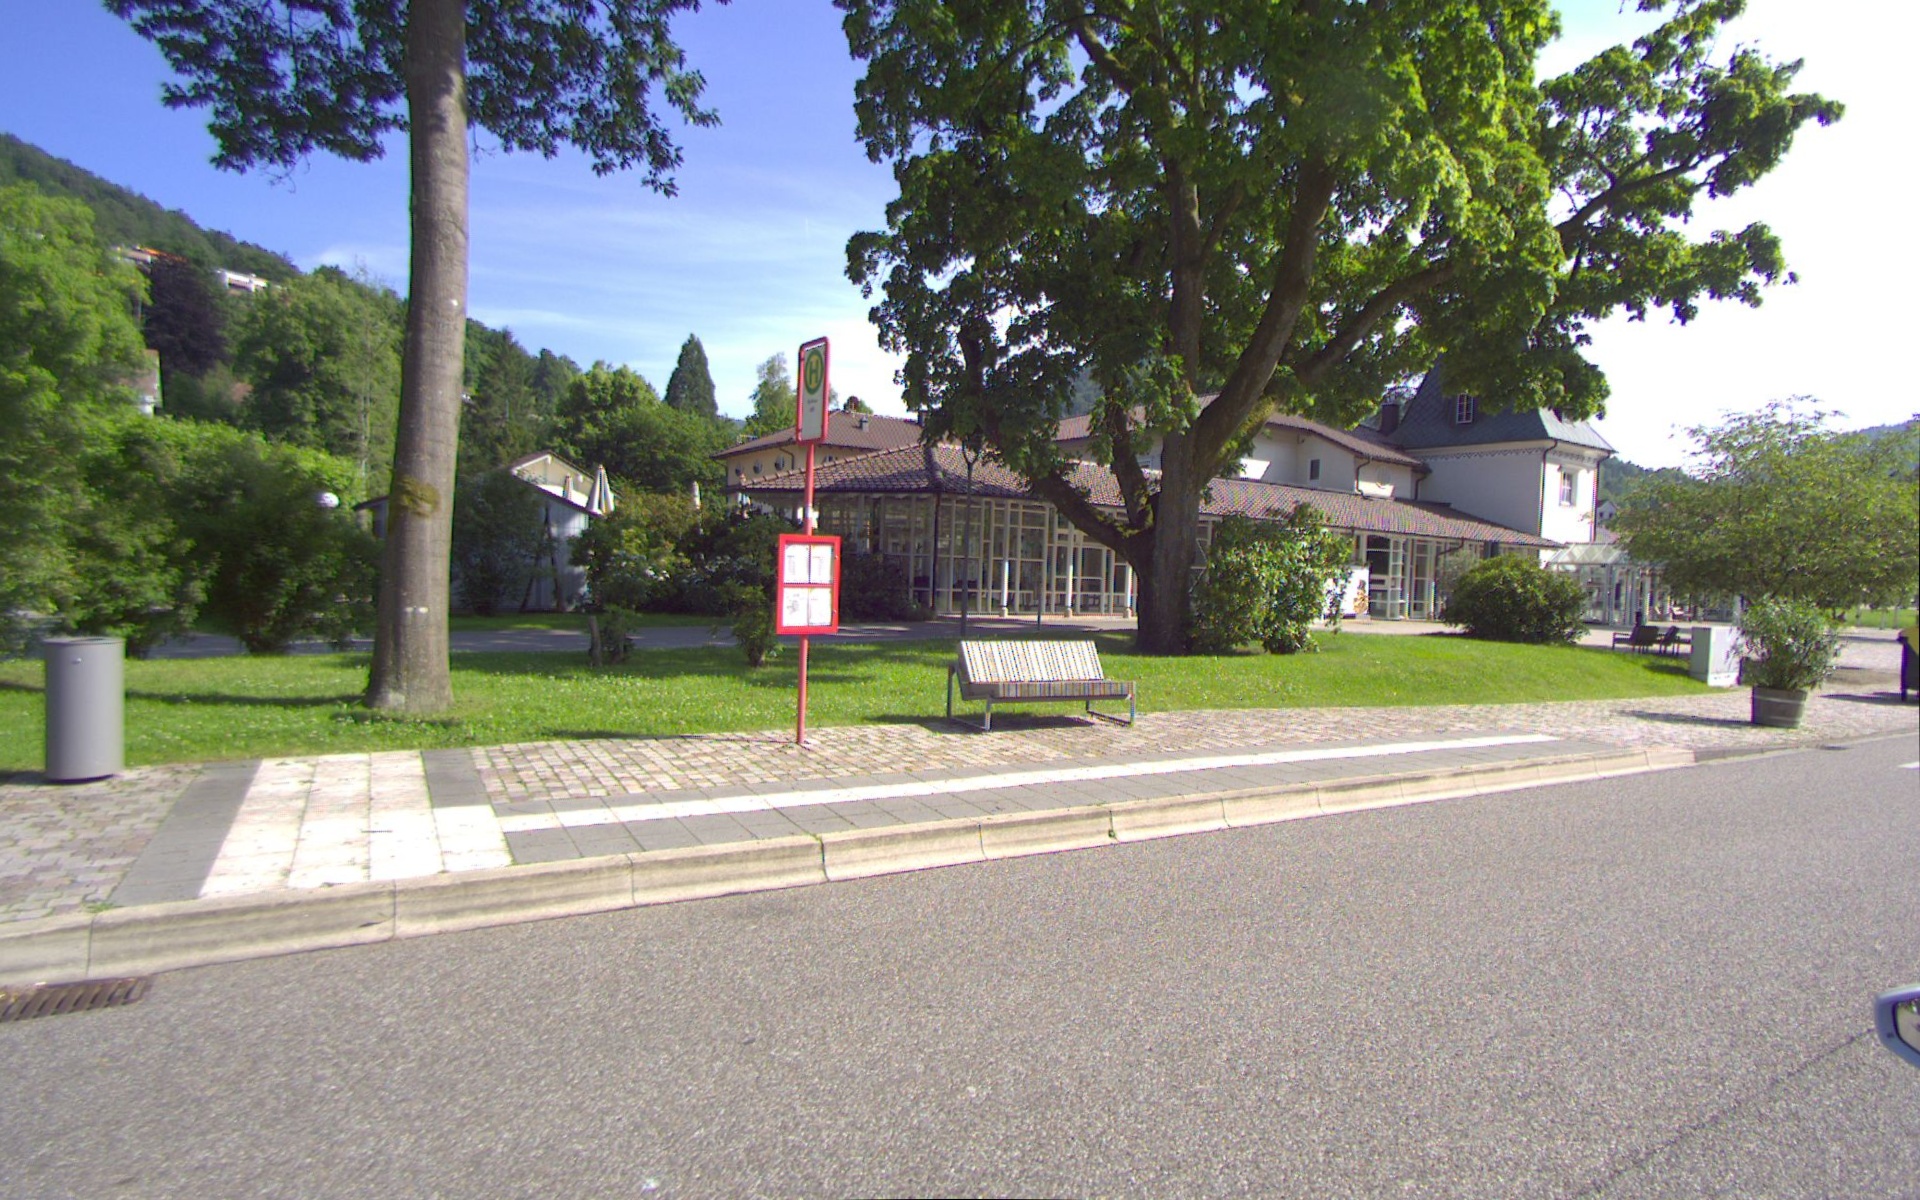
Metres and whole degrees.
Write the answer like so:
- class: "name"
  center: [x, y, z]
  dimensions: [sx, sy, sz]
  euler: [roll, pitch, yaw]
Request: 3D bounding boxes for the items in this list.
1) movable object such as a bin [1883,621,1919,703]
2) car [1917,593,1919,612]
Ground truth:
- class: "movable object such as a bin"
  center: [17.938, 1.156, 18.422]
  dimensions: [1.362, 1.446, 1.072]
  euler: [1, 4, -33]
- class: "car"
  center: [101.180, 0.315, 103.030]
  dimensions: [1.823, 1.979, 5.020]
  euler: [2, 1, 11]
